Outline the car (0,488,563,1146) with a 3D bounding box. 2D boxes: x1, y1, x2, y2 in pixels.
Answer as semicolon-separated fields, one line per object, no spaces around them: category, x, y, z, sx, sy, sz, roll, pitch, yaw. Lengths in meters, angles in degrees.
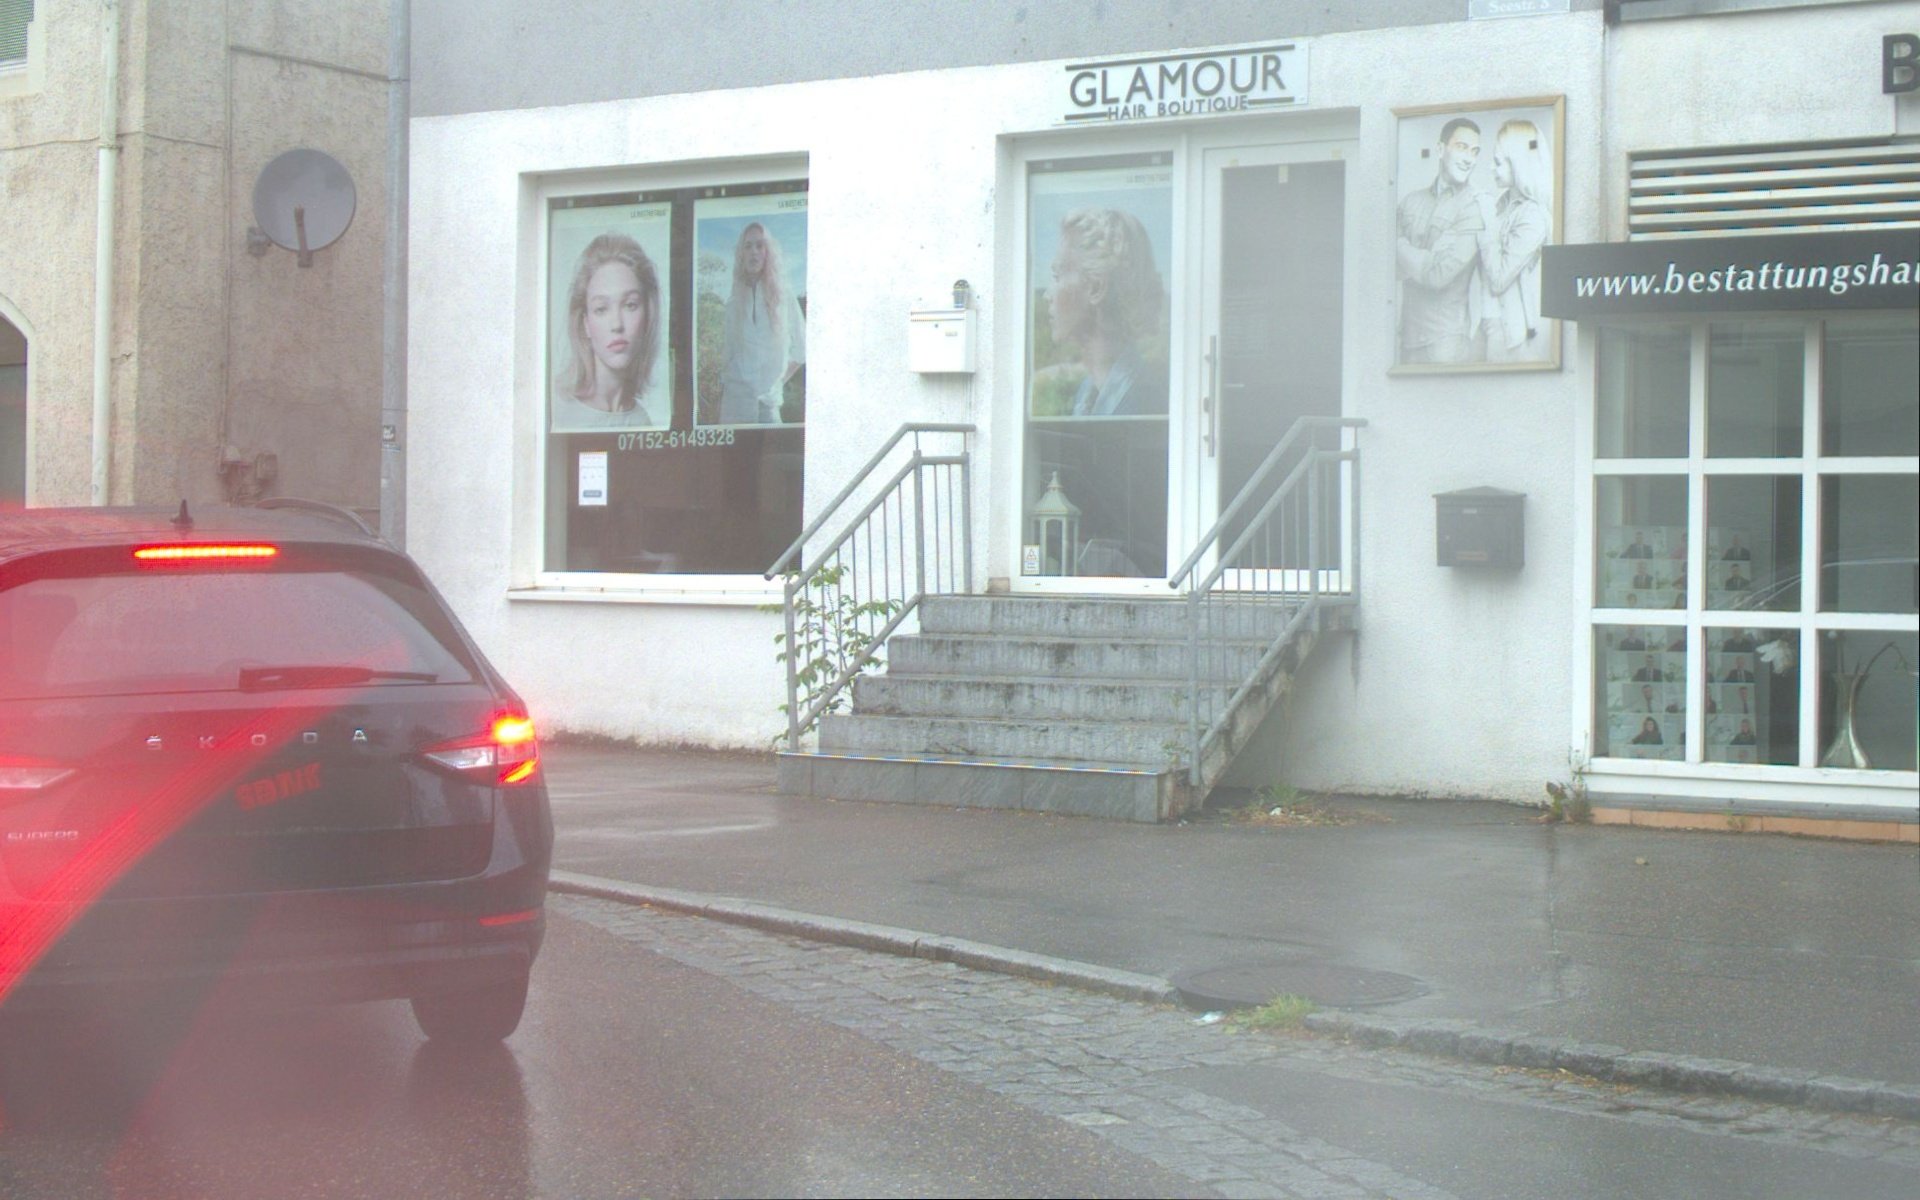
car;-2.589;0.429;9.986;1.732;1.445;4.243;-1;3;-23
